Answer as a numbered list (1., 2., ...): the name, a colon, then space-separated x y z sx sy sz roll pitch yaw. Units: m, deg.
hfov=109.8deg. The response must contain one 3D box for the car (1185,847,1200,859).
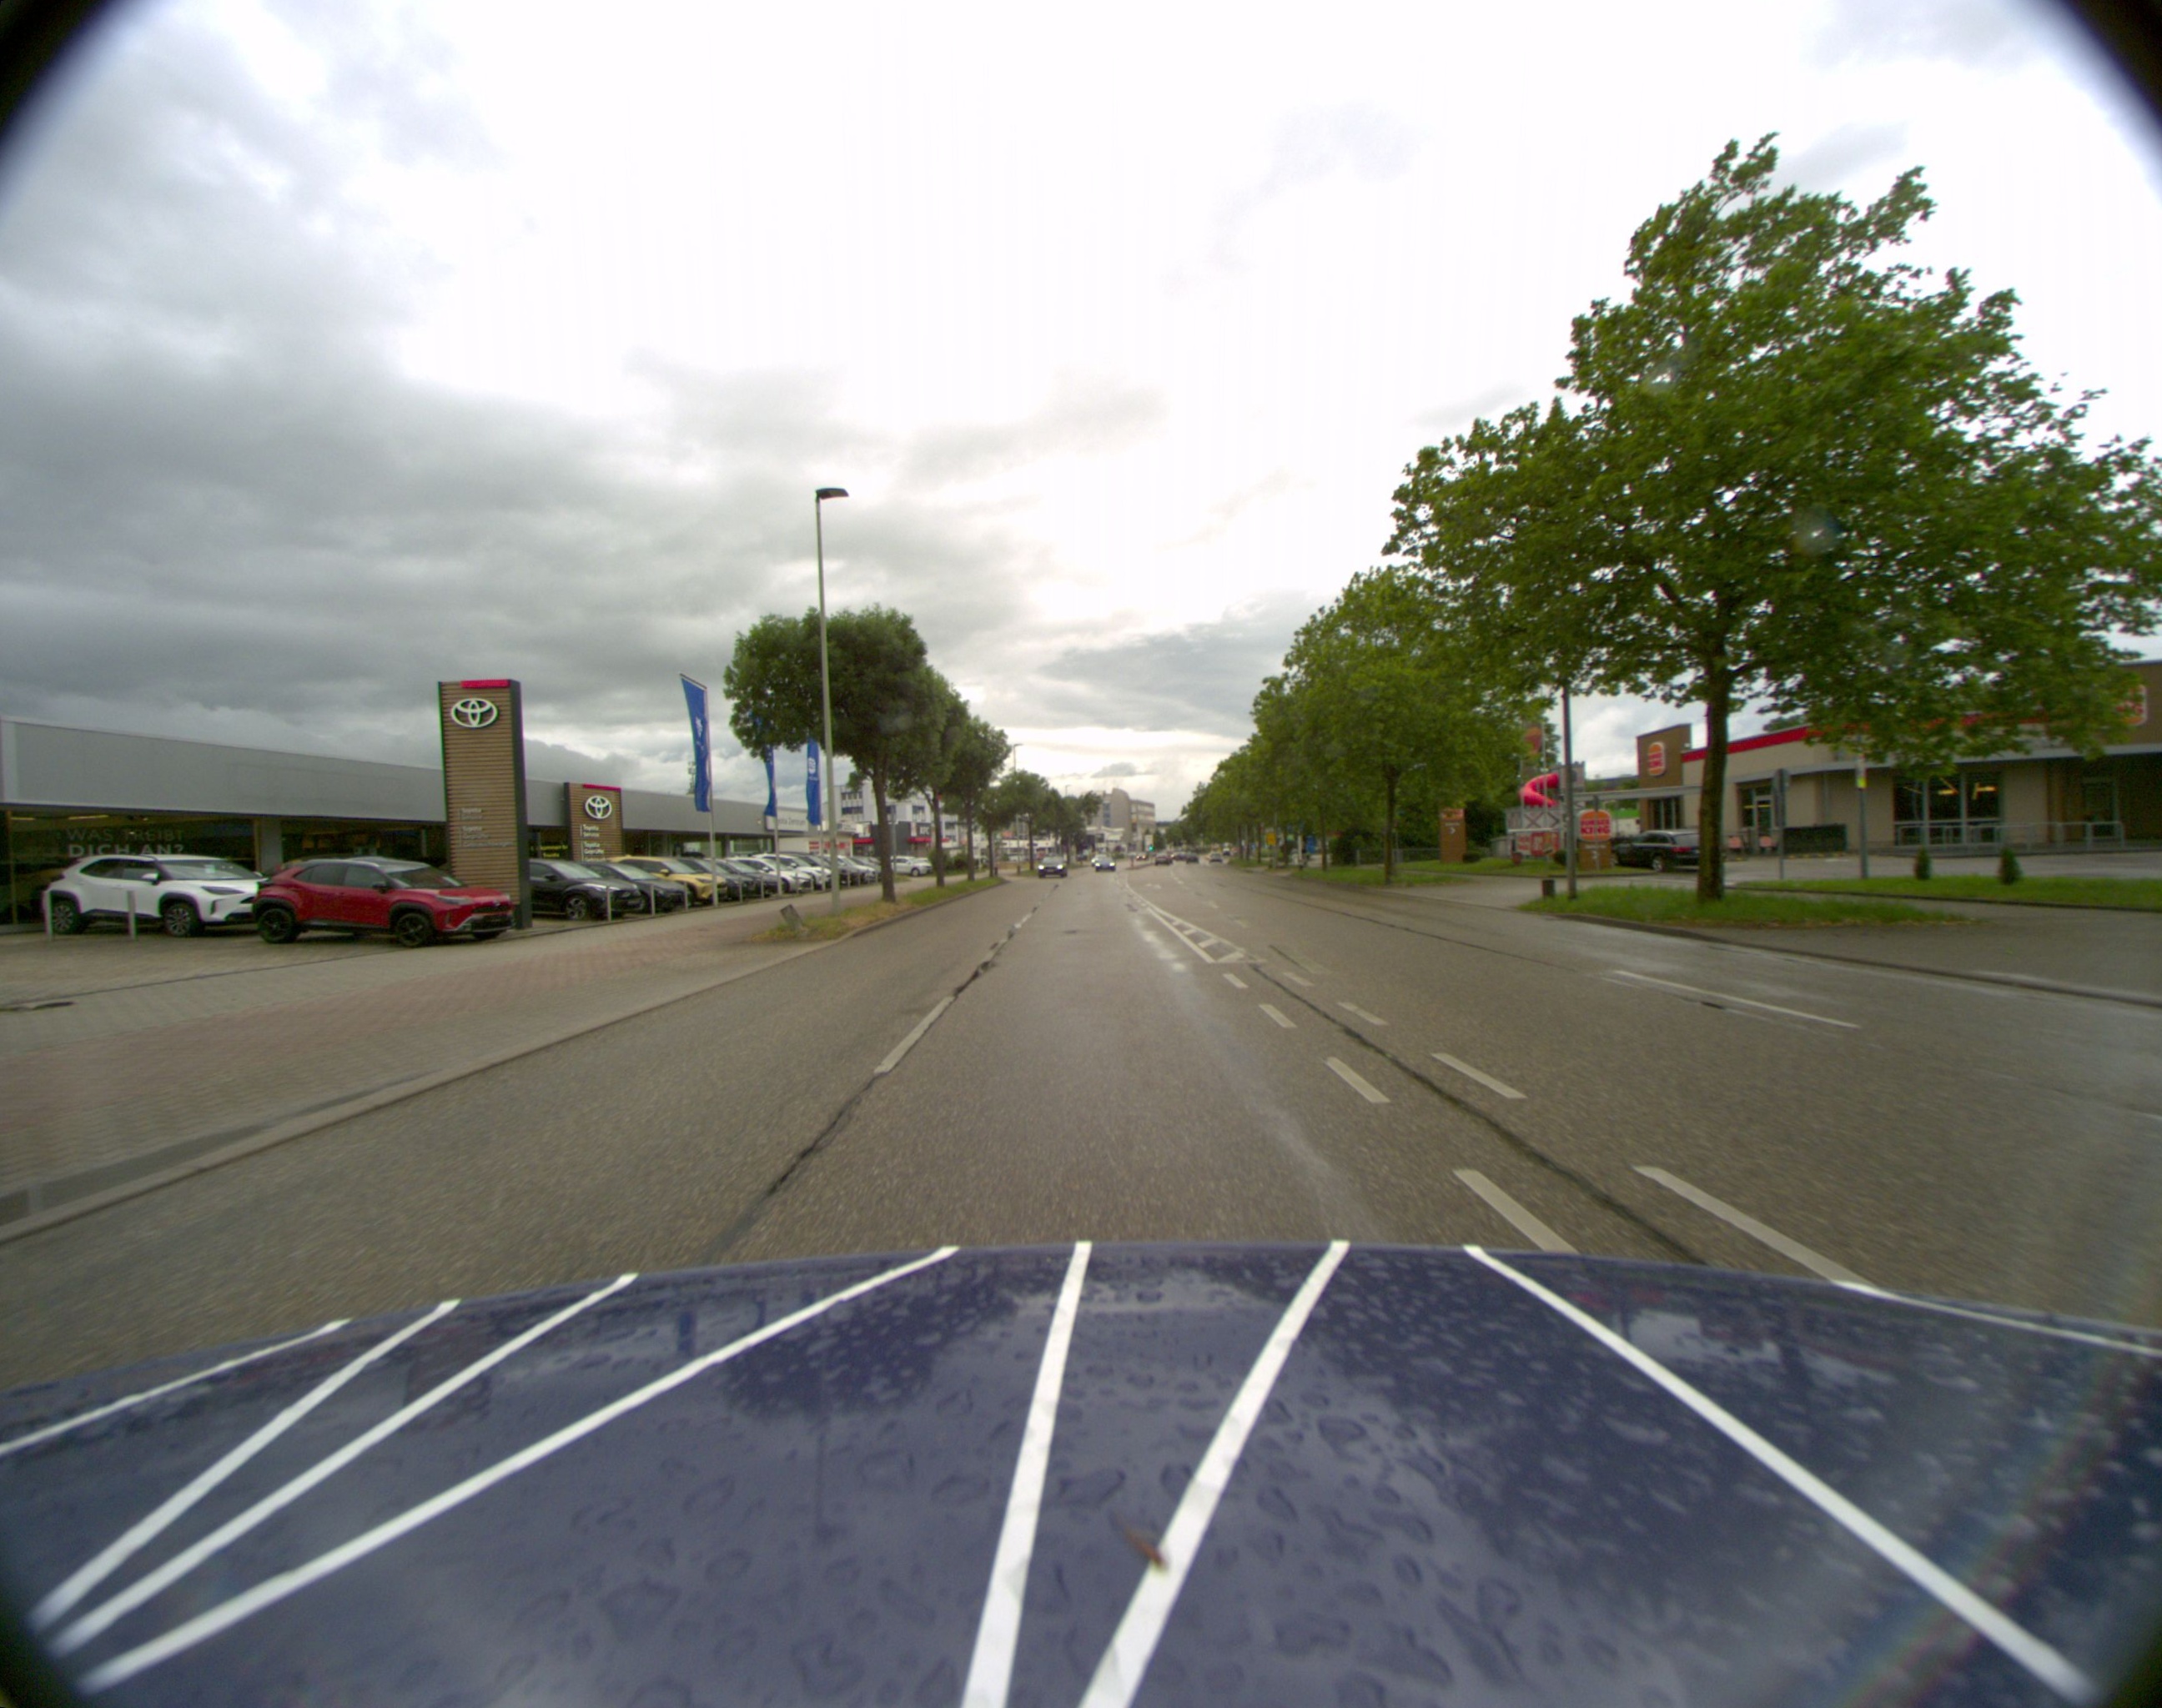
1. car: 15.861 -0.097 108.183 1.997 1.499 4.735 -1 -2 8

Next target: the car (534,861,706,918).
1. car: -13.565 1.023 22.520 3.996 1.530 1.800 -1 1 2

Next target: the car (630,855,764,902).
1. car: -13.881 0.861 27.596 3.995 1.538 1.711 2 1 4

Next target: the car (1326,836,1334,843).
1. car: 59.702 -3.439 182.448 1.694 1.636 3.967 -1 0 17

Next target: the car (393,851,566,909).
1. car: -18.254 0.724 23.357 1.878 1.612 4.123 0 0 3

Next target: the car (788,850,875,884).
1. car: -13.374 0.682 40.805 3.995 1.576 1.812 3 1 4

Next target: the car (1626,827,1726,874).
1. car: 20.932 -0.164 26.857 1.436 1.419 3.192 -3 3 10

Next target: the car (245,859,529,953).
1. car: -13.126 0.938 14.543 3.850 1.594 1.795 1 1 2

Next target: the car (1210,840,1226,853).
1. car: 27.270 -1.523 150.770 2.242 2.459 5.022 -3 -1 19

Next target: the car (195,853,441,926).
1. car: -18.791 0.797 19.050 1.878 1.612 4.123 0 0 3

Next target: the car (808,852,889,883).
1. car: -13.200 0.722 43.274 3.995 1.535 1.812 3 1 4

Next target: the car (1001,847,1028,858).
1. car: -12.773 -0.351 146.713 4.777 2.002 2.003 -1 0 19

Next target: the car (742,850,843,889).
1. car: -13.593 0.725 35.907 3.997 1.578 1.812 3 0 1

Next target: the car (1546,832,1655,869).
1. car: 20.051 -0.125 29.419 3.181 1.148 1.291 -4 0 10

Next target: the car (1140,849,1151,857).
1. car: 12.900 -0.261 152.104 1.752 1.455 4.003 -1 0 13

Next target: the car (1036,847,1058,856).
1. car: -7.386 -0.603 165.030 4.366 1.754 1.899 -1 1 18

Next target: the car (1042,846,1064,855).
1. car: -6.238 -0.741 167.118 4.366 1.895 1.899 -1 1 18

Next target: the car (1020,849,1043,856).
1. car: -10.076 -0.271 154.713 4.366 1.386 1.826 -1 0 18

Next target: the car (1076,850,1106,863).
1. car: 1.366 0.353 102.966 1.896 1.544 4.008 3 3 40

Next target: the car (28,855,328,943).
1. car: -18.030 0.836 15.295 4.117 1.612 1.881 0 1 6

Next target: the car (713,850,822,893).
1. car: -13.695 0.763 33.346 3.995 1.776 1.812 -1 1 4

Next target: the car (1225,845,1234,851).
1. car: 38.084 -1.474 194.301 1.785 1.396 4.005 -1 0 17

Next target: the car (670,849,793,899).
1. car: -13.724 0.755 29.965 3.995 1.776 1.812 2 1 4

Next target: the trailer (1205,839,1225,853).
1. trailer: 25.852 -1.430 146.576 2.306 2.459 7.983 -3 -1 19

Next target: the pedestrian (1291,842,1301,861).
1. pedestrian: 20.368 -0.252 71.979 0.665 1.756 0.584 -2 1 25

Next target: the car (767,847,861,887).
1. car: -13.370 0.615 38.206 3.995 1.776 1.812 3 1 4

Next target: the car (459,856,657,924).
1. car: -13.758 0.919 20.144 3.996 1.638 1.845 1 1 2

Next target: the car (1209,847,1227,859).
1. car: 18.997 -0.117 105.524 1.932 1.610 4.399 -1 1 4

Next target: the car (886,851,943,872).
1. car: -13.392 0.634 61.098 4.058 1.588 1.988 -1 1 23

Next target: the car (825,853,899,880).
1. car: -13.128 0.745 45.687 3.842 1.453 1.828 2 1 2

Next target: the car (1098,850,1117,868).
1. car: 2.571 0.460 74.134 1.800 1.623 4.552 -1 0 2

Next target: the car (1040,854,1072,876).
1. car: -1.798 0.797 56.584 1.900 1.544 4.593 -1 0 4

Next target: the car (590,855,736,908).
1. car: -13.690 0.881 25.047 3.848 1.557 1.666 2 1 0

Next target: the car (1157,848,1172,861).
1. car: 11.065 0.083 100.547 1.815 1.553 4.600 -1 1 8

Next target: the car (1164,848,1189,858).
1. car: 16.767 -0.174 133.818 4.000 1.532 1.812 -2 2 -9

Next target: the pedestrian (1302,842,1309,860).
1. pedestrian: 21.336 -0.291 72.101 0.513 1.673 0.540 -1 1 4
